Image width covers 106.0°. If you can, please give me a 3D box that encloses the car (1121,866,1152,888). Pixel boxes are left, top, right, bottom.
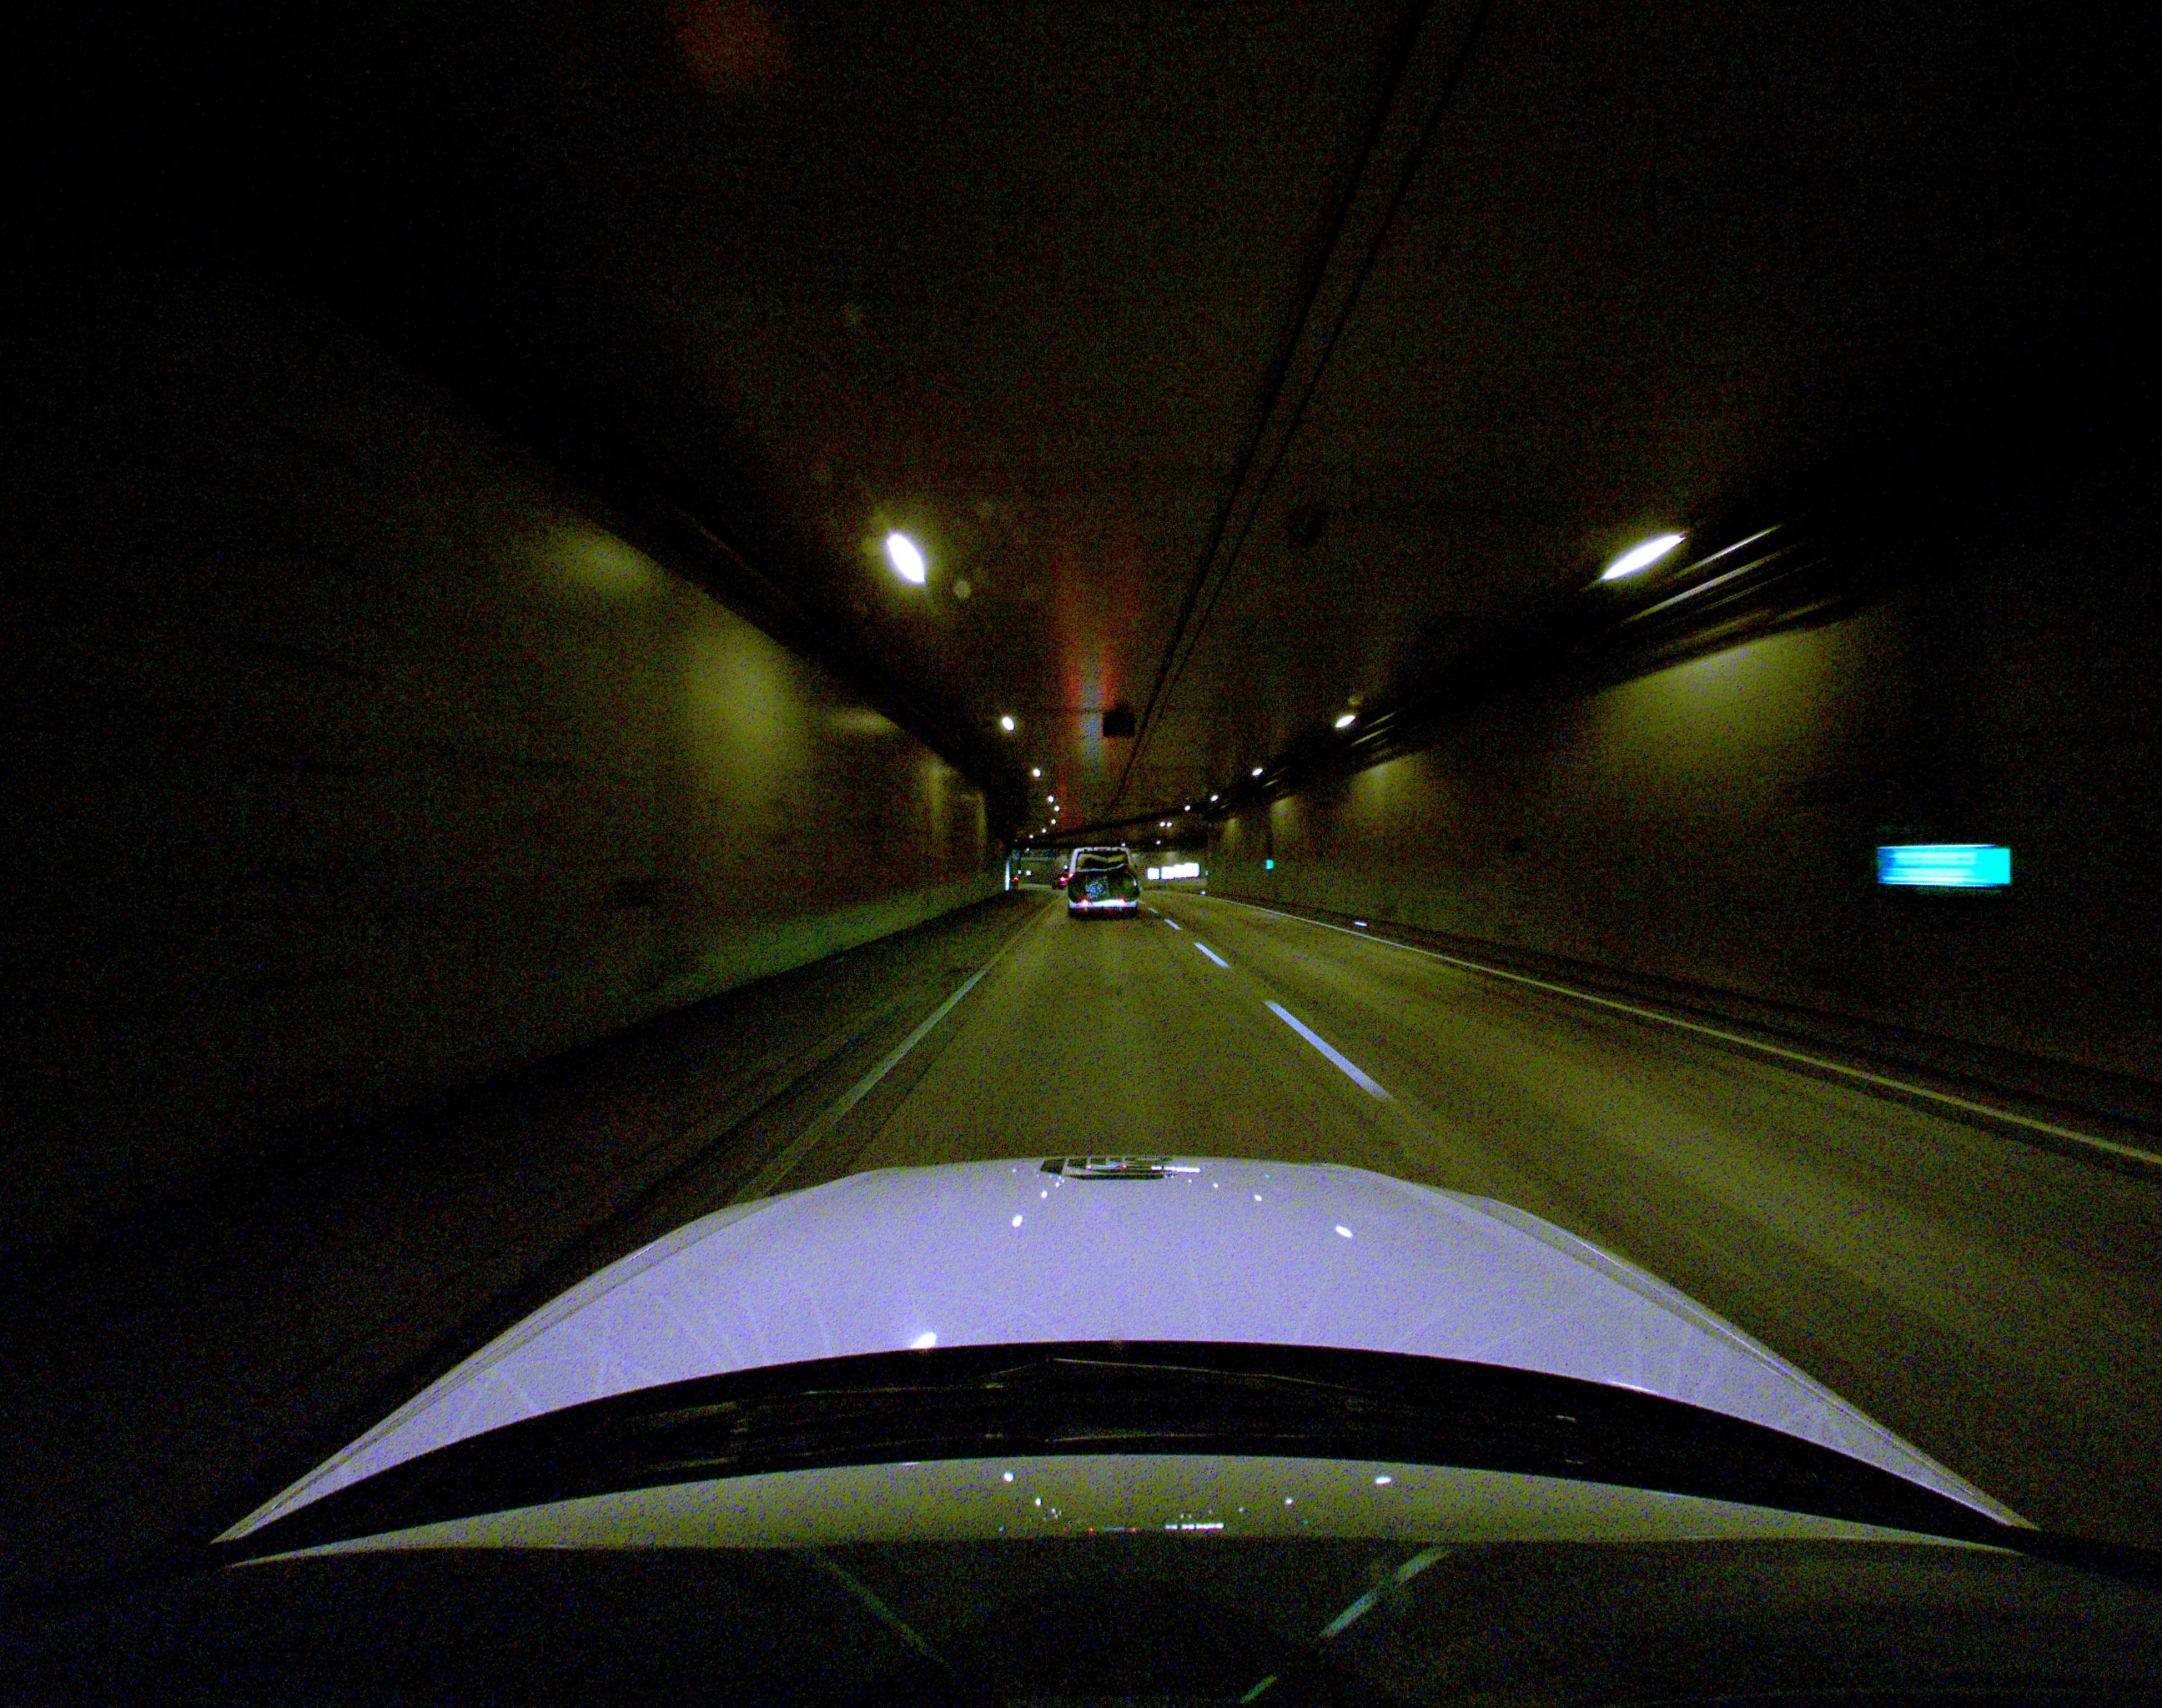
[{"bbox_3d":[4.163,1.738,61.875,1.603,1.630,3.343,-1,-1,-10],"label":"car"}]

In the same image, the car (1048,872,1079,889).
[{"bbox_3d":[-1.782,2.694,83.427,1.831,1.631,3.812,3,-4,-24],"label":"car"}]

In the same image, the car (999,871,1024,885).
[{"bbox_3d":[-8.680,2.996,101.658,1.832,1.630,3.810,3,-2,-27],"label":"car"}]

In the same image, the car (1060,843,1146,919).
[{"bbox_3d":[0.479,0.700,22.785,1.989,1.847,5.295,0,-1,-3],"label":"car"}]
